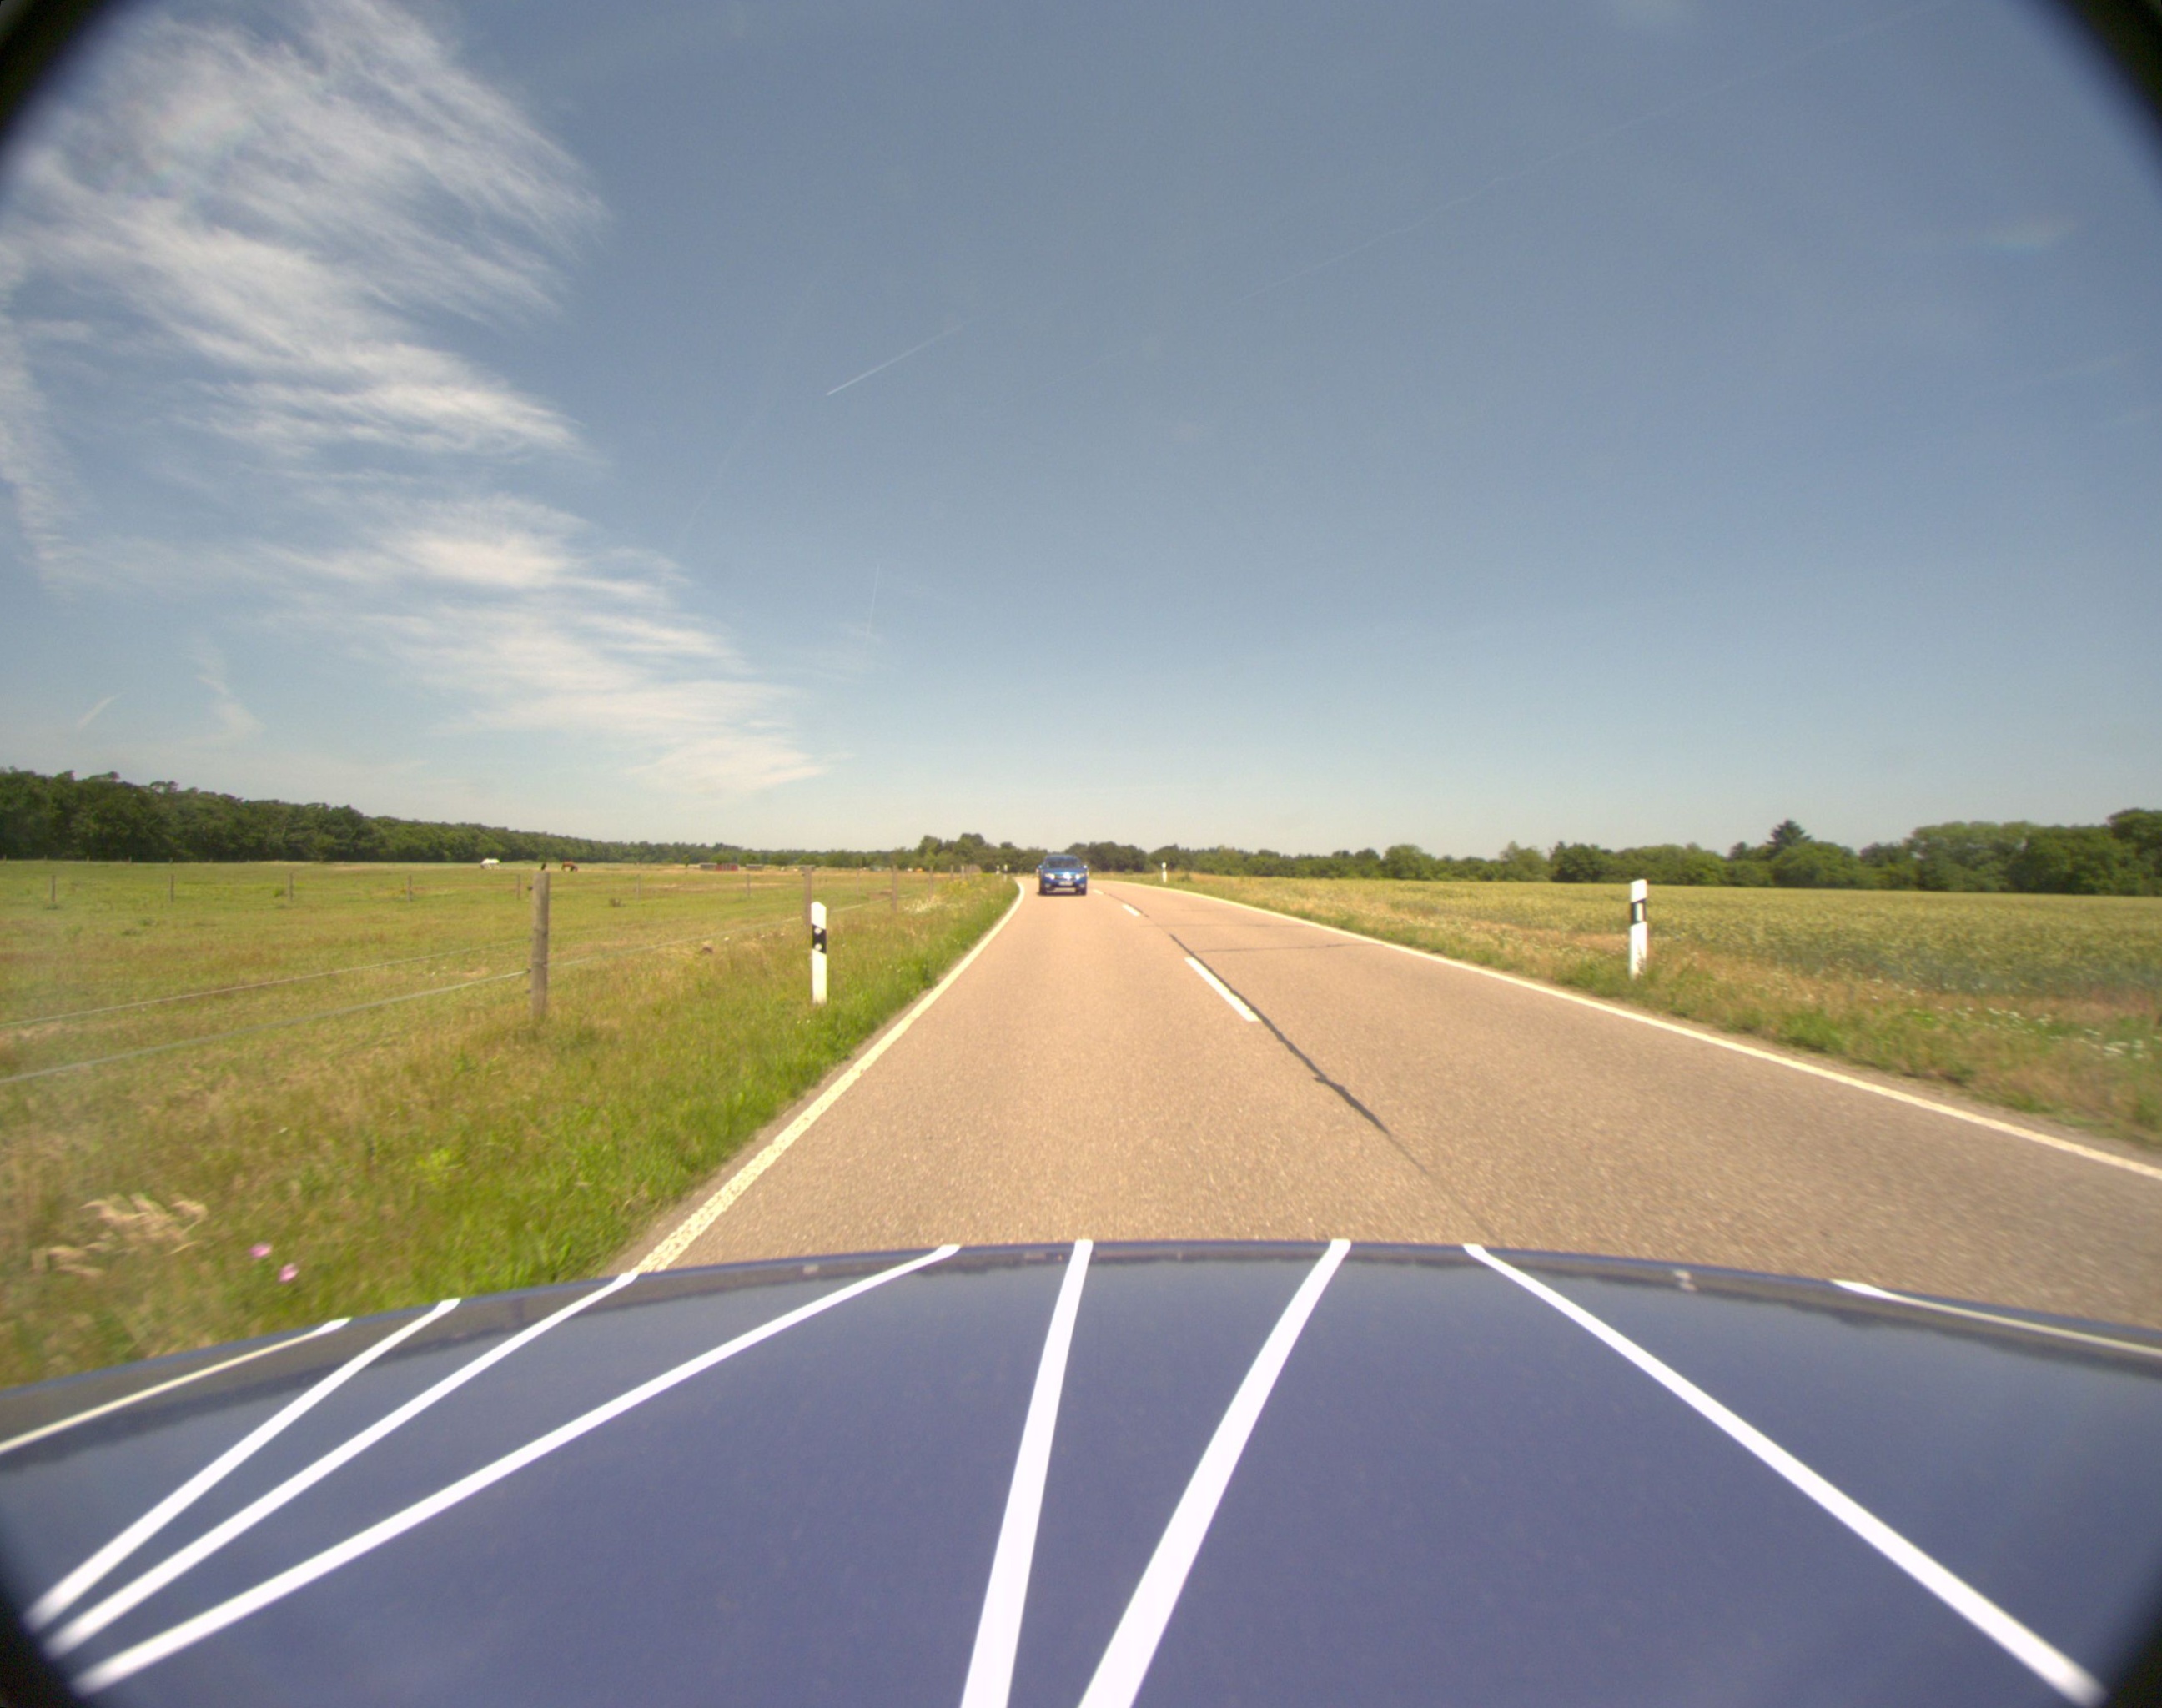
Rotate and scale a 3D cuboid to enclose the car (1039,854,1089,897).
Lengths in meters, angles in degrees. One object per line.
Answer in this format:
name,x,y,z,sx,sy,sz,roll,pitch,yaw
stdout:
car,-0.738,0.796,30.378,1.735,1.572,3.998,-1,0,-4
